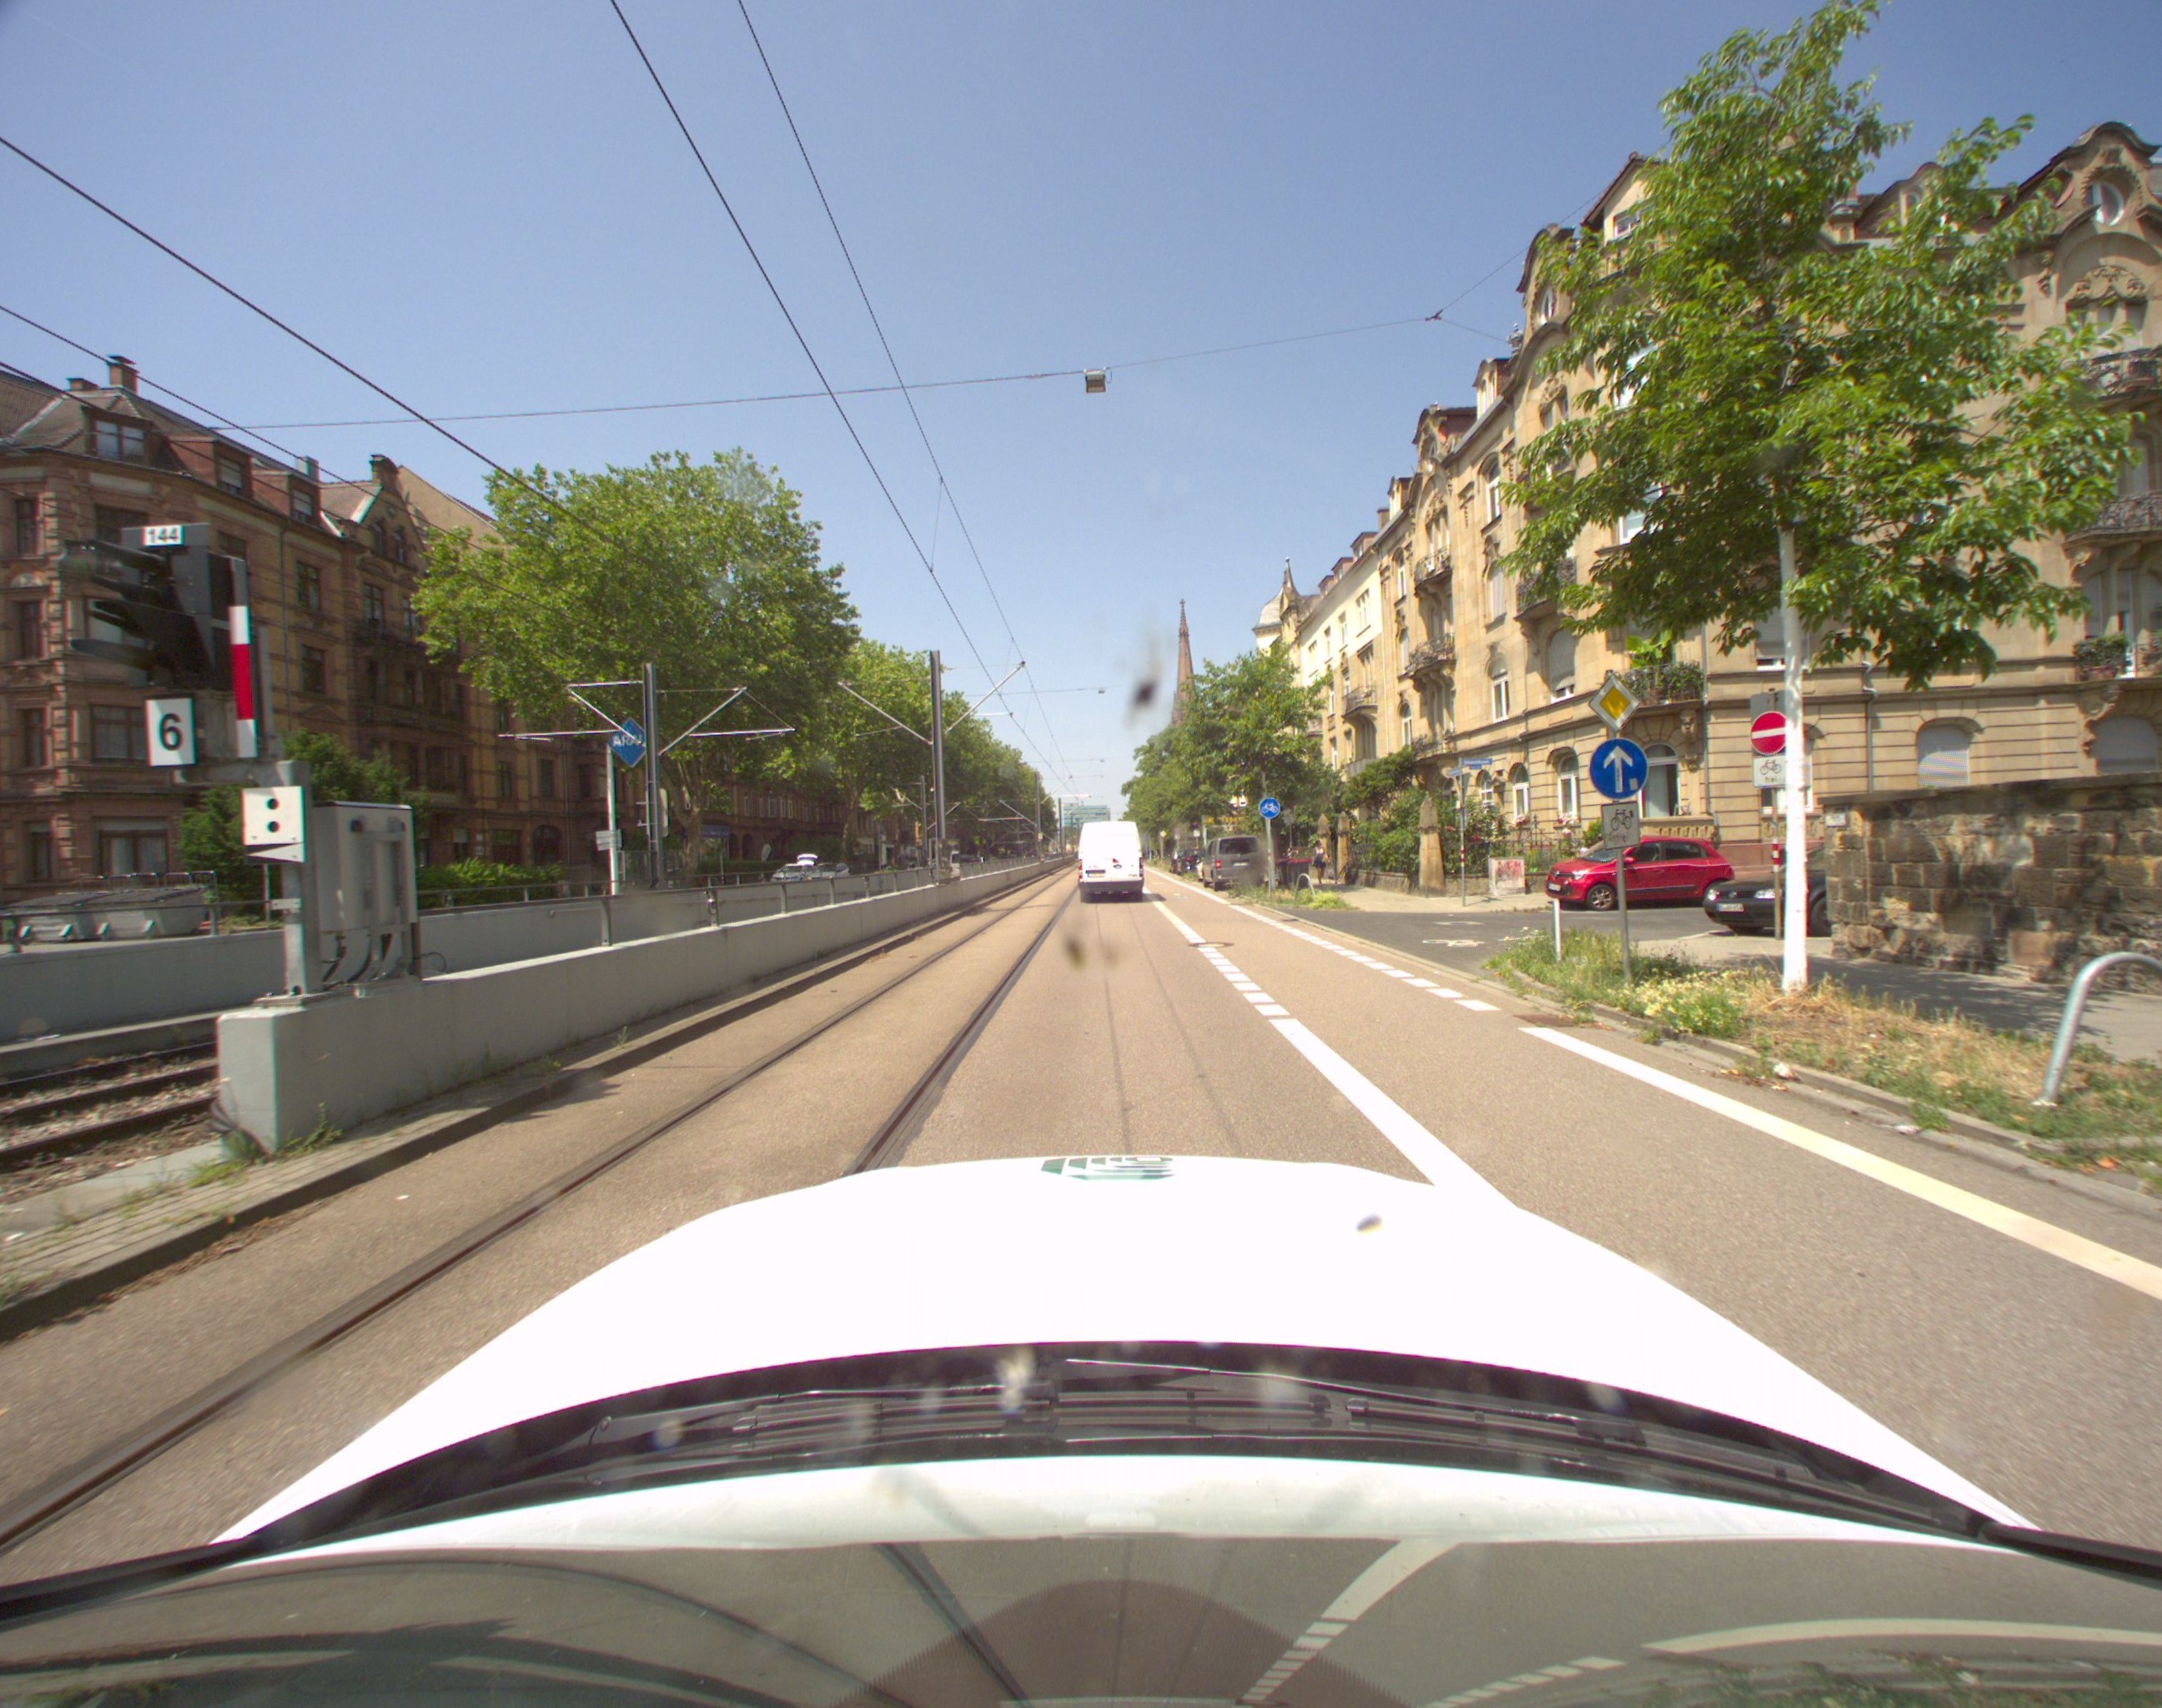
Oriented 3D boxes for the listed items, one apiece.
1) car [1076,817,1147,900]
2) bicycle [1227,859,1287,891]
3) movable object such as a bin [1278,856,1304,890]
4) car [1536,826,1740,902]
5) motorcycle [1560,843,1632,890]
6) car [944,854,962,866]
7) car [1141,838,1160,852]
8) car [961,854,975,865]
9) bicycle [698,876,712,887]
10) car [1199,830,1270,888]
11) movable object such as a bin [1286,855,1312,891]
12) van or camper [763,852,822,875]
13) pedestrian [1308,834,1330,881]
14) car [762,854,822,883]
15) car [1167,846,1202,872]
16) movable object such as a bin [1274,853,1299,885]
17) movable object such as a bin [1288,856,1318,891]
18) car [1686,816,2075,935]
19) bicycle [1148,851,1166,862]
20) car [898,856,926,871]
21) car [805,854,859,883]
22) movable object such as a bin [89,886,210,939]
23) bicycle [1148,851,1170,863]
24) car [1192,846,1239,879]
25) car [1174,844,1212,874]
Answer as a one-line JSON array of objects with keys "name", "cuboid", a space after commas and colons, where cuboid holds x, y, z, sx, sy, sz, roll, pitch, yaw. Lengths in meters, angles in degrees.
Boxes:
[{"name": "car", "cuboid": [0.959, 0.132, 27.288, 2.110, 2.459, 5.054, -2, 0, 0]}, {"name": "bicycle", "cuboid": [5.933, 0.710, 27.465, 1.880, 0.991, 0.469, -2, 0, -9]}, {"name": "movable object such as a bin", "cuboid": [6.697, 0.593, 25.985, 0.742, 1.062, 0.497, -2, 0, 7]}, {"name": "car", "cuboid": [12.386, 0.214, 18.260, 3.437, 1.491, 1.556, -2, 0, 3]}, {"name": "motorcycle", "cuboid": [13.280, 0.321, 21.014, 1.497, 1.163, 0.469, -2, 0, 3]}, {"name": "car", "cuboid": [-16.764, 0.787, 107.044, 1.586, 1.448, 4.002, -2, 0, 2]}, {"name": "car", "cuboid": [8.584, -1.095, 101.061, 2.147, 1.670, 4.004, -2, 0, 4]}, {"name": "car", "cuboid": [-16.004, 0.787, 115.093, 1.368, 1.423, 3.090, -2, 0, 2]}, {"name": "bicycle", "cuboid": [-24.390, 1.778, 52.831, 0.279, 0.650, 1.344, -2, 0, 0]}, {"name": "car", "cuboid": [5.822, 0.162, 31.523, 1.872, 1.947, 4.838, -3, 0, 2]}, {"name": "movable object such as a bin", "cuboid": [6.783, 0.594, 25.343, 0.665, 1.062, 0.497, -2, 0, 7]}, {"name": "van or camper", "cuboid": [-25.894, 0.826, 73.115, 4.519, 1.836, 1.936, -2, 0, 7]}, {"name": "pedestrian", "cuboid": [8.346, 0.116, 28.609, 0.549, 1.598, 0.728, -2, 0, 4]}, {"name": "car", "cuboid": [-18.009, 0.868, 51.030, 1.987, 1.624, 4.719, -2, 0, 1]}, {"name": "car", "cuboid": [6.518, 0.275, 51.711, 1.723, 1.536, 4.405, -2, 0, 1]}, {"name": "movable object such as a bin", "cuboid": [6.714, 0.479, 26.648, 0.595, 1.011, 0.564, -2, 0, -9]}, {"name": "movable object such as a bin", "cuboid": [6.727, 0.578, 24.694, 0.783, 1.014, 0.651, -2, 0, 7]}, {"name": "car", "cuboid": [11.865, 0.342, 12.292, 4.169, 1.491, 1.672, -3, -3, -1]}, {"name": "bicycle", "cuboid": [8.496, 0.246, 90.785, 1.881, 1.182, 0.640, -2, 0, -1]}, {"name": "car", "cuboid": [-17.228, 0.995, 83.233, 1.845, 1.401, 4.198, -2, 0, 1]}, {"name": "car", "cuboid": [-15.044, 0.844, 49.392, 1.535, 1.561, 3.888, -2, 0, 8]}, {"name": "movable object such as a bin", "cuboid": [-27.385, 1.698, 23.992, 1.777, 1.385, 1.469, -2, 0, -1]}, {"name": "bicycle", "cuboid": [6.816, 0.291, 71.126, 1.835, 0.953, 0.503, -2, 0, 3]}, {"name": "car", "cuboid": [6.262, 0.378, 38.323, 1.605, 1.405, 4.002, -2, 0, 2]}, {"name": "car", "cuboid": [6.328, 0.253, 46.167, 1.661, 1.530, 4.015, -2, 0, 2]}]
